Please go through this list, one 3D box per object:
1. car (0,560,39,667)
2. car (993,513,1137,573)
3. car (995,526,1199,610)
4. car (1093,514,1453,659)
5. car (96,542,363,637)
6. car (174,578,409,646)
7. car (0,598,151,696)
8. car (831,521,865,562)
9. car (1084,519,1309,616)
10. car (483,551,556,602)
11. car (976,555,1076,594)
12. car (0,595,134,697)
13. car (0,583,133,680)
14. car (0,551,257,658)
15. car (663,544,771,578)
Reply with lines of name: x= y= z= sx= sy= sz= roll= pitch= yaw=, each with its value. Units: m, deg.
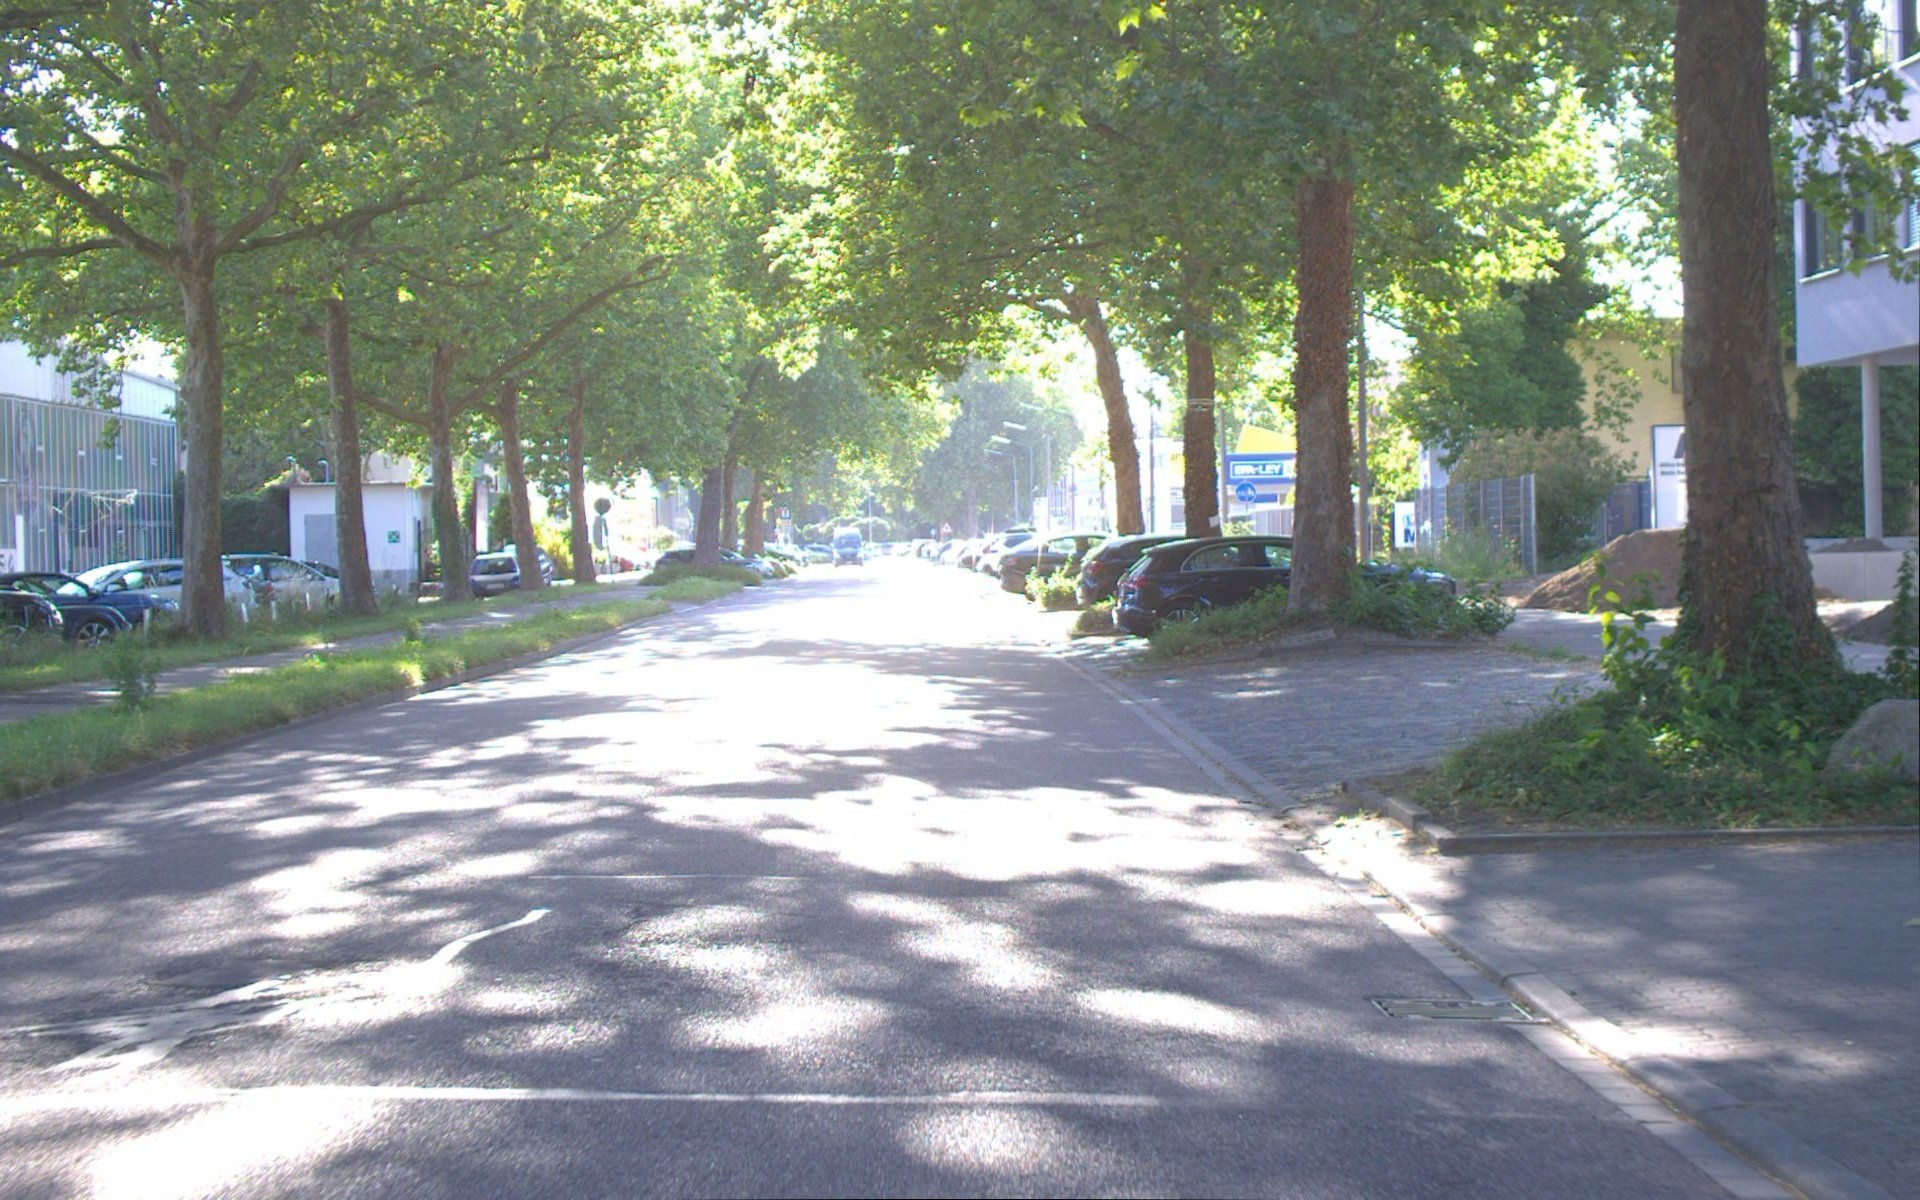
car: x=-14.825 y=0.159 z=46.243 sx=4.250 sy=1.447 sz=1.999 roll=0 pitch=0 yaw=-39
car: x=3.540 y=-1.913 z=116.162 sx=4.624 sy=1.706 sz=2.000 roll=-4 pitch=0 yaw=-2
car: x=3.225 y=-0.760 z=81.577 sx=4.569 sy=1.710 sz=1.944 roll=-4 pitch=1 yaw=-4
car: x=3.974 y=-0.178 z=44.113 sx=4.283 sy=1.481 sz=1.861 roll=-5 pitch=0 yaw=-2
car: x=-12.879 y=-0.189 z=60.785 sx=1.998 sy=1.624 sz=4.252 roll=1 pitch=0 yaw=42
car: x=-14.105 y=0.231 z=72.690 sx=4.472 sy=1.301 sz=1.999 roll=-2 pitch=2 yaw=-42
car: x=-14.139 y=0.674 z=49.836 sx=4.250 sy=1.377 sz=1.999 roll=0 pitch=0 yaw=-39
car: x=-7.487 y=-3.943 z=230.496 sx=2.127 sy=2.650 sz=7.002 roll=-1 pitch=1 yaw=-1
car: x=4.237 y=-0.582 z=62.059 sx=3.784 sy=1.481 sz=1.861 roll=-4 pitch=0 yaw=-2
car: x=-13.654 y=-0.735 z=106.755 sx=1.993 sy=1.365 sz=3.921 roll=-5 pitch=1 yaw=-5
car: x=3.134 y=-1.212 z=163.234 sx=4.601 sy=1.574 sz=2.000 roll=-4 pitch=0 yaw=1
car: x=-14.351 y=0.651 z=49.667 sx=4.250 sy=1.447 sz=1.999 roll=0 pitch=0 yaw=-39
car: x=-15.065 y=0.469 z=52.579 sx=4.250 sy=1.447 sz=1.999 roll=0 pitch=0 yaw=-39
car: x=-13.967 y=0.070 z=56.777 sx=1.998 sy=1.693 sz=4.252 roll=1 pitch=0 yaw=43
car: x=-10.547 y=-1.685 z=149.440 sx=4.599 sy=1.417 sz=2.000 roll=-1 pitch=1 yaw=-1
